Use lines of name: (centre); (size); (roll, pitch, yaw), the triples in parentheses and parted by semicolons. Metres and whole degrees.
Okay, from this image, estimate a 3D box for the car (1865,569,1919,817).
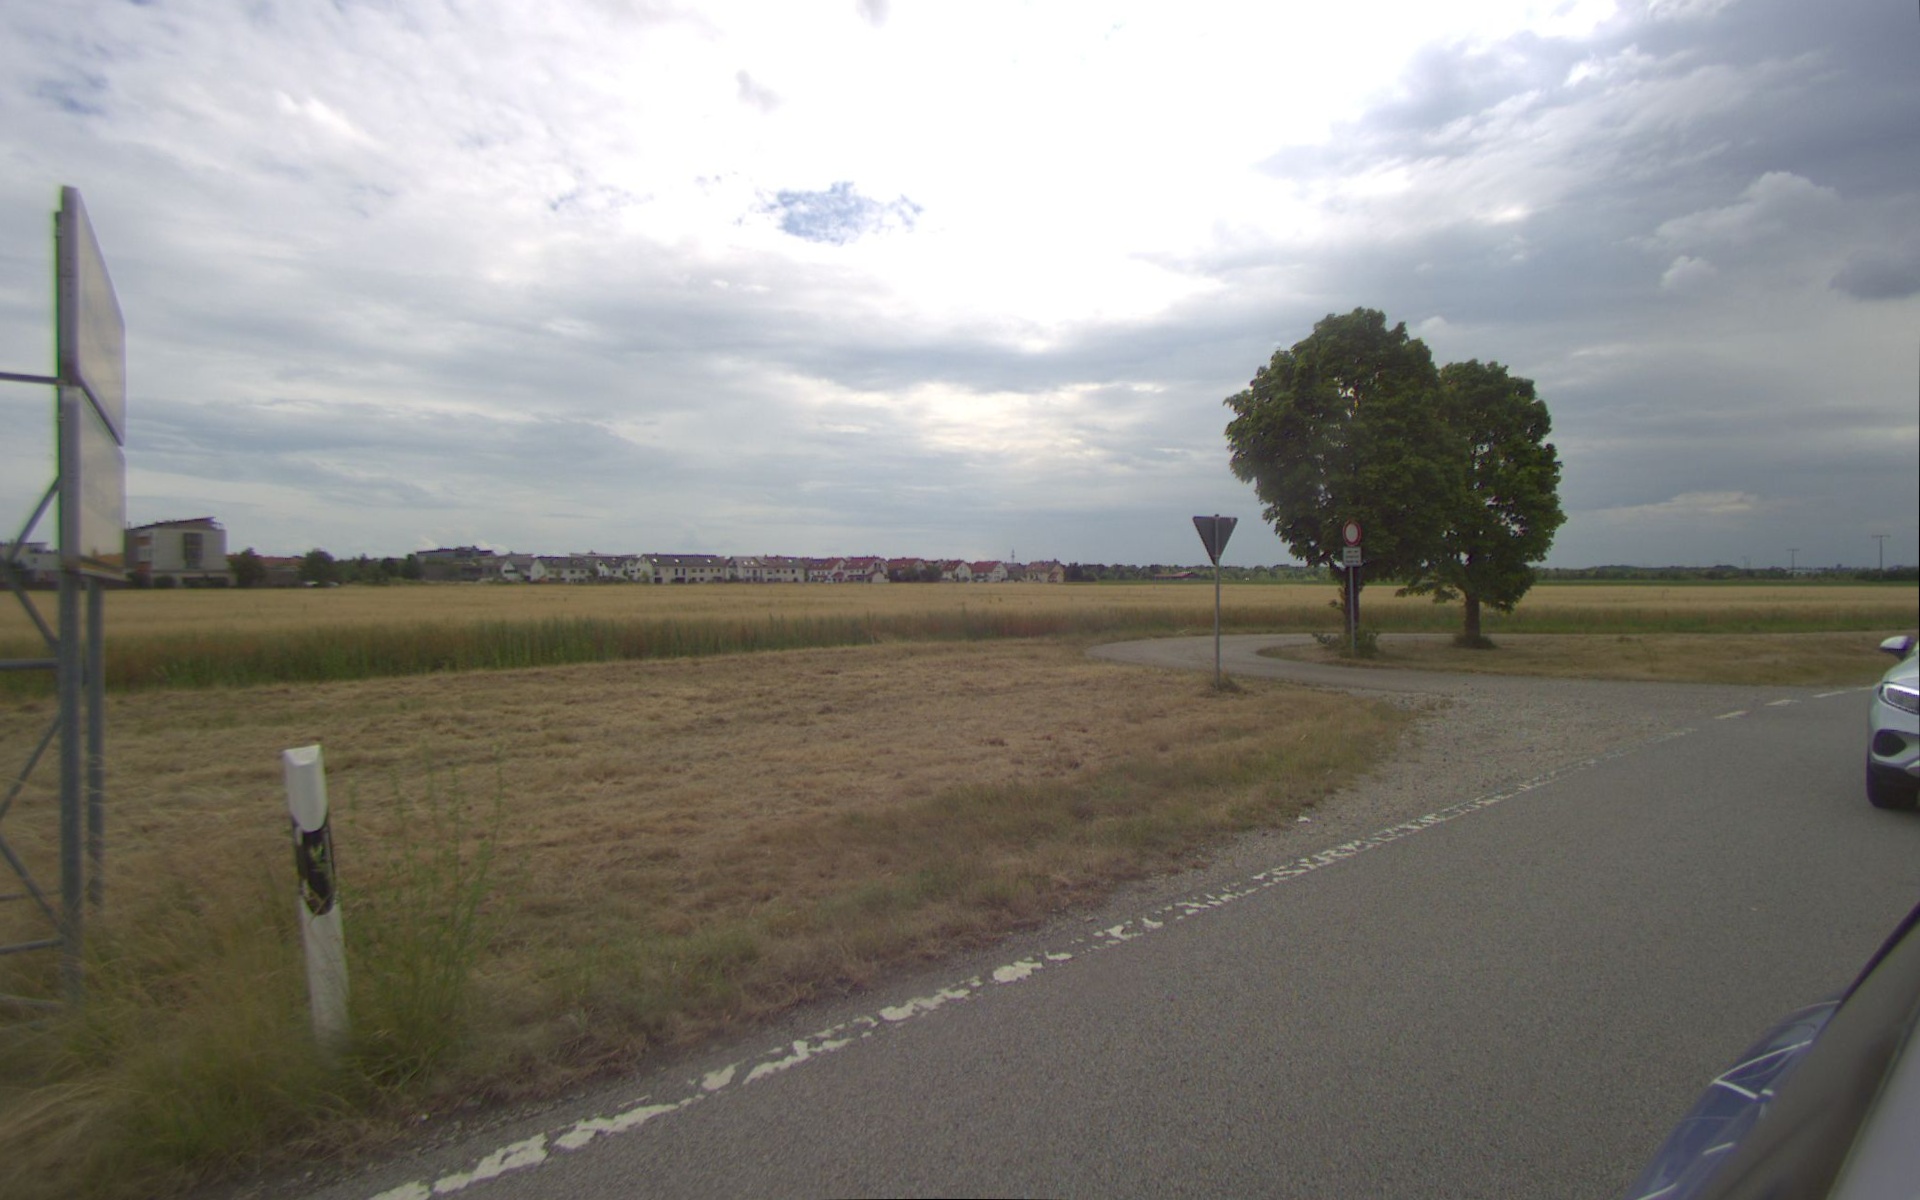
car: (8.265, 0.615, 7.520); (4.373, 1.606, 1.834); (0, 1, -42)
